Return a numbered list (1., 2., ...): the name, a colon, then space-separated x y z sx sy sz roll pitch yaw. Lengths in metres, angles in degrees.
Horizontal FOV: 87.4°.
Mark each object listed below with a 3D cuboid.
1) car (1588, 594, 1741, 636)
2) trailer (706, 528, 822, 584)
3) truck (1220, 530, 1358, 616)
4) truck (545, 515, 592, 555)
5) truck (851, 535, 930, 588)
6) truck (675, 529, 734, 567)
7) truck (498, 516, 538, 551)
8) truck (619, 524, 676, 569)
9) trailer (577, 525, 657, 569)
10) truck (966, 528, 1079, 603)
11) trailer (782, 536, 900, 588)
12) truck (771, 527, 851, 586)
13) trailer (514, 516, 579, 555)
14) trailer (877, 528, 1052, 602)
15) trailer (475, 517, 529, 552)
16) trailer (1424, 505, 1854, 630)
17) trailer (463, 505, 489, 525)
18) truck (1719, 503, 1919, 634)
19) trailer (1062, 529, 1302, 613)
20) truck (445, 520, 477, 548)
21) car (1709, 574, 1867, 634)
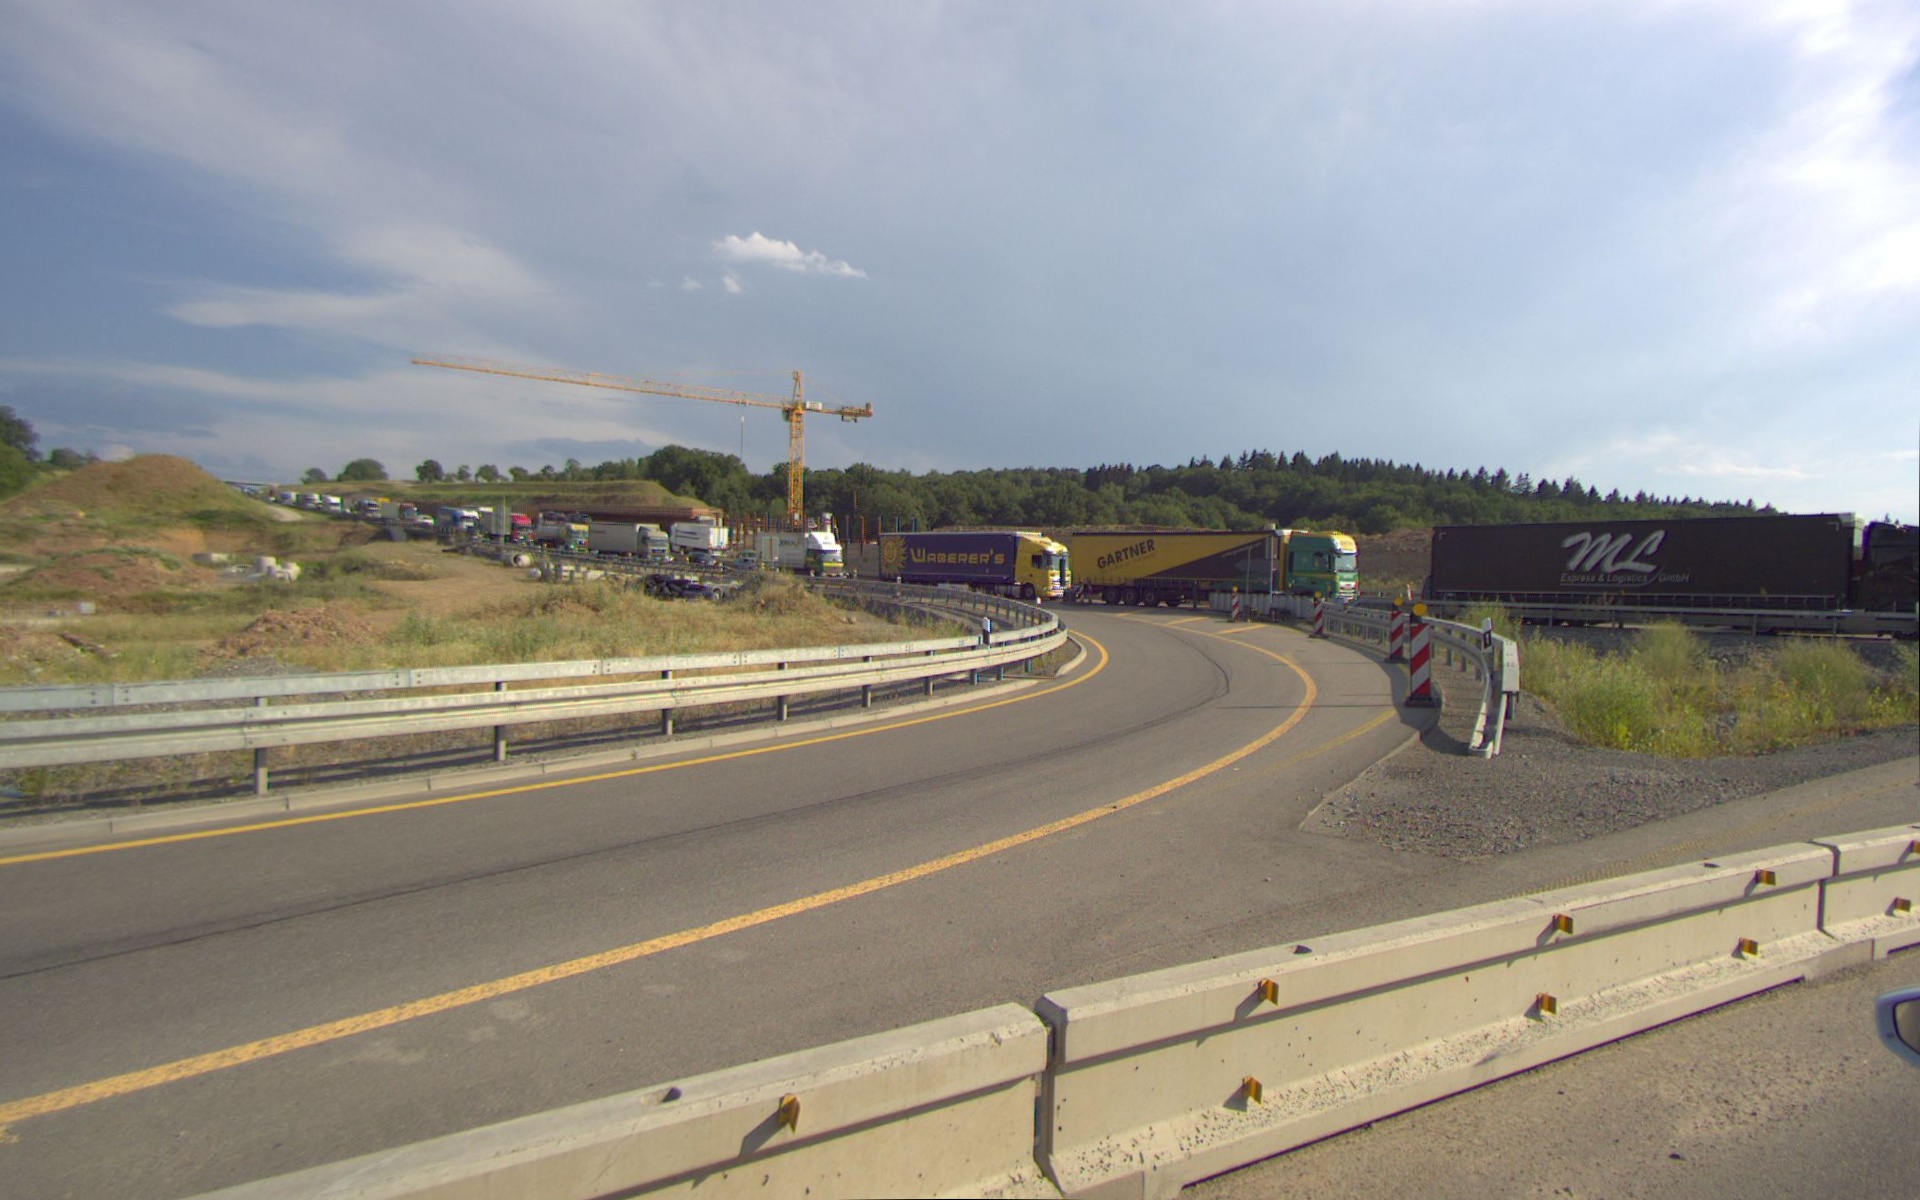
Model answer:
1. car: 29.491 0.567 42.175 2.019 1.520 4.919 -2 3 -41
2. trailer: -17.178 -3.684 86.705 3.090 4.371 14.078 2 0 -41
3. truck: 15.965 -1.324 49.090 2.469 3.954 5.937 0 2 -42
4. truck: -46.961 -7.718 120.323 3.090 4.371 6.812 2 0 -41
5. truck: -5.635 -3.045 80.506 2.836 4.050 6.541 0 2 -42
6. truck: -33.510 -6.719 131.433 3.534 4.470 13.056 2 0 -32
7. truck: -60.651 -9.068 137.650 3.090 4.371 6.812 2 0 -41
8. truck: -32.417 -5.483 103.965 3.090 4.371 6.812 2 0 -41
9. trailer: -37.866 -5.706 110.293 3.090 4.371 14.078 2 0 -41
10. truck: 3.806 -2.133 62.947 3.090 4.371 6.812 2 0 -41
11. trailer: -10.439 -3.210 85.912 2.845 4.050 13.308 0 2 -42
12. truck: -12.061 -3.444 80.811 3.090 4.371 6.812 2 0 -41
13. trailer: -52.024 -7.929 126.088 3.090 4.371 14.078 2 0 -41
14. trailer: -0.050 -2.300 67.353 3.090 4.371 14.078 2 0 -41
15. trailer: -65.431 -9.223 143.224 3.090 4.371 14.078 2 0 -41
16. trailer: 25.264 -1.255 38.656 2.471 4.116 13.453 -1 2 -44
17. trailer: -100.652 -17.633 208.937 1.957 3.561 11.039 2 0 -41
18. truck: 29.670 -1.046 33.983 2.471 4.115 5.935 0 2 -43
19. trailer: 11.444 -1.573 54.180 2.469 4.012 13.803 0 2 -41
20. truck: -77.647 -10.194 156.243 2.503 4.054 8.453 2 0 -40
21. car: 30.169 0.100 36.700 1.515 2.040 4.276 2 0 -43
